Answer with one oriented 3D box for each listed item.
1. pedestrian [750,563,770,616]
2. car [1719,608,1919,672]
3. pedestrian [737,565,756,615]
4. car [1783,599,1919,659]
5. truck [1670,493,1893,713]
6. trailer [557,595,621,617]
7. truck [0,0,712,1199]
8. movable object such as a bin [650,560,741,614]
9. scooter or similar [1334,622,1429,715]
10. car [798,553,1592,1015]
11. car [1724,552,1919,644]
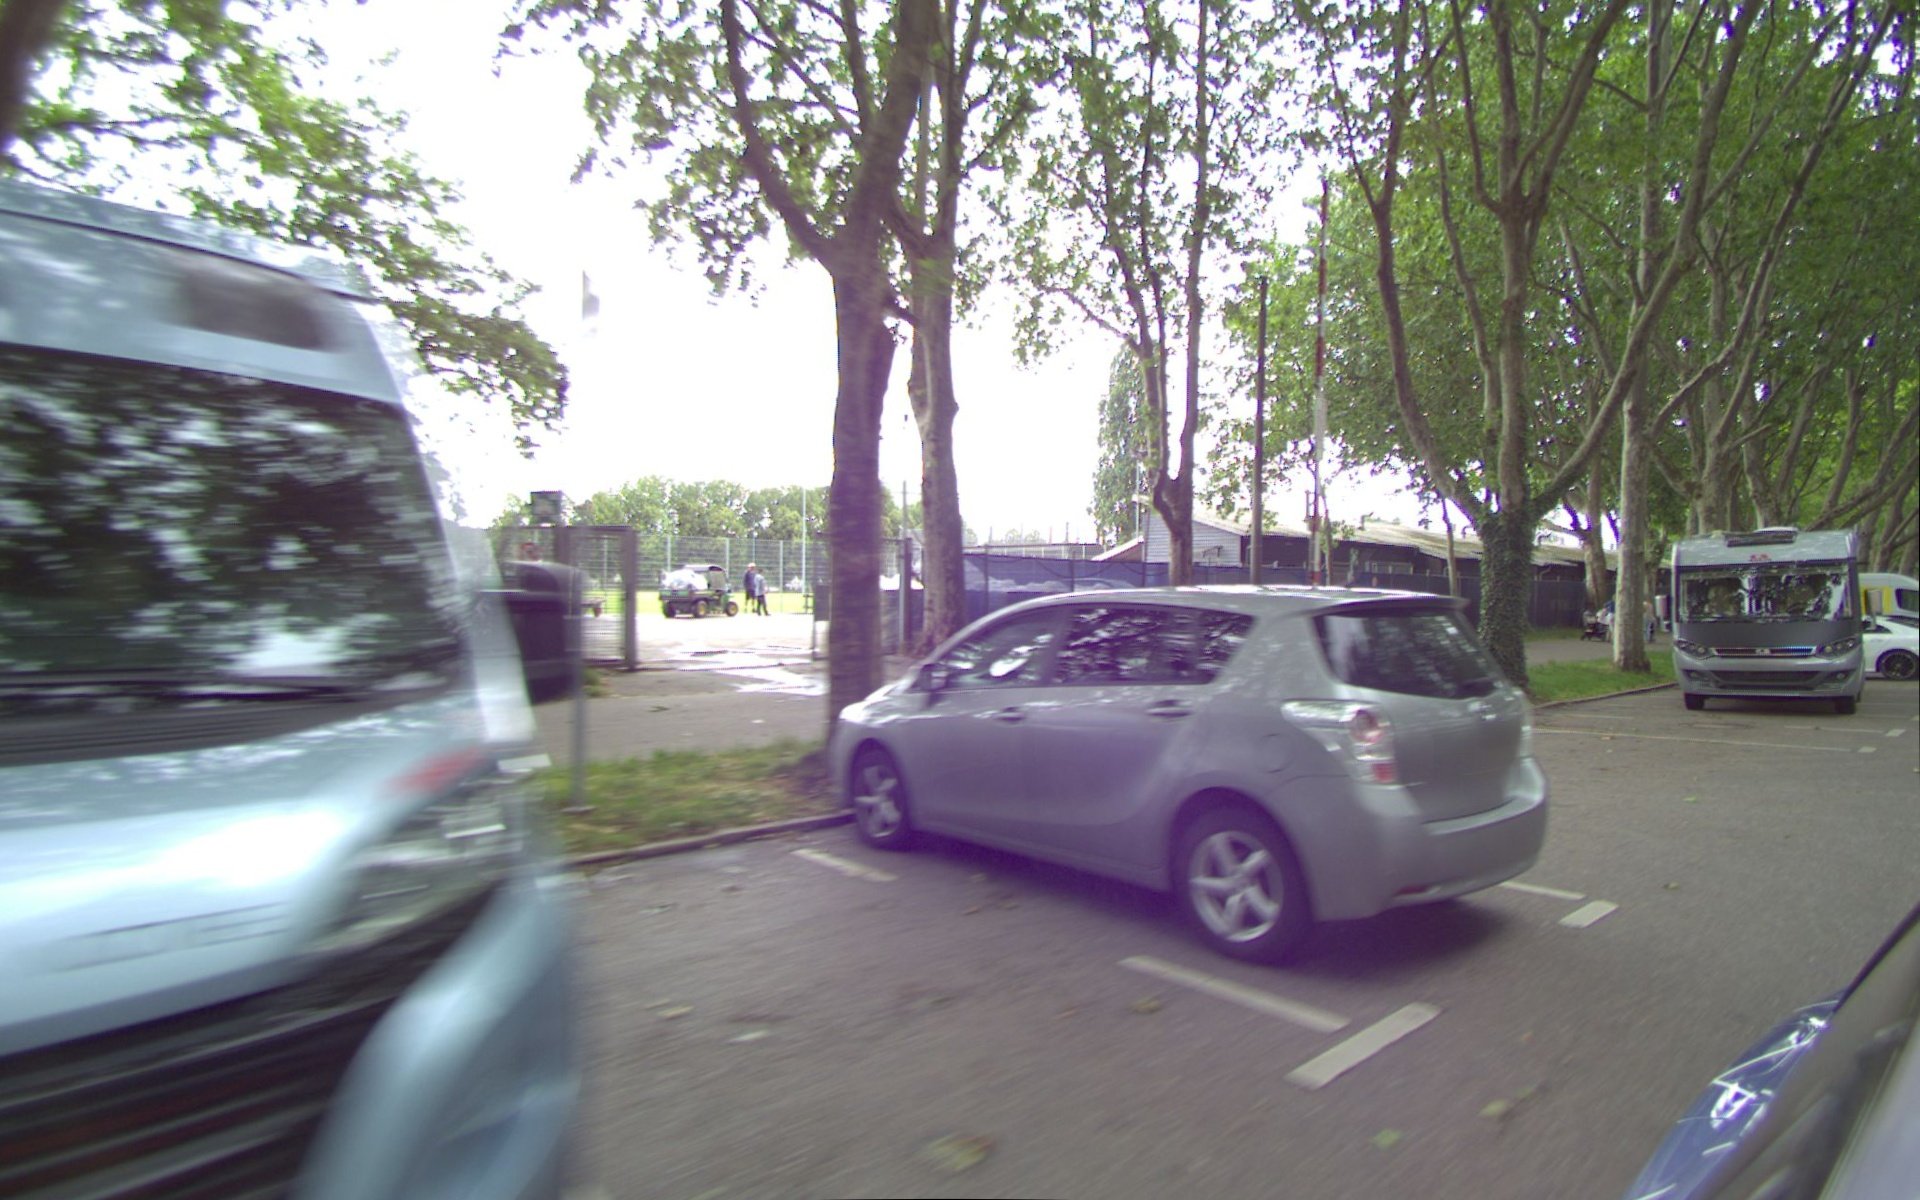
[{"bbox_3d":[-7.381,-0.384,37.292,0.585,1.912,0.561,0,-1,-29],"label":"pedestrian"},{"bbox_3d":[19.990,0.846,22.842,1.670,1.318,4.328,0,0,-40],"label":"car"},{"bbox_3d":[-8.297,-0.382,39.236,0.585,1.912,0.561,0,-1,-29],"label":"pedestrian"},{"bbox_3d":[23.807,0.714,25.751,4.357,1.464,1.587,0,0,43],"label":"car"},{"bbox_3d":[14.069,0.034,17.345,2.455,2.975,7.428,0,0,40],"label":"truck"},{"bbox_3d":[-12.058,0.192,32.849,1.186,0.699,2.879,0,0,-36],"label":"trailer"},{"bbox_3d":[-3.180,0.113,3.486,2.060,2.749,6.307,0,0,-39],"label":"truck"},{"bbox_3d":[-9.139,-0.420,35.095,1.632,1.789,2.812,0,0,28],"label":"movable object such as a bin"},{"bbox_3d":[6.020,0.956,14.519,0.589,1.140,1.278,3,4,-10],"label":"scooter or similar"},{"bbox_3d":[0.897,0.692,5.881,1.770,1.639,4.350,0,-1,-38],"label":"car"},{"bbox_3d":[28.552,-0.060,31.964,6.881,2.729,2.093,0,0,44],"label":"car"}]
